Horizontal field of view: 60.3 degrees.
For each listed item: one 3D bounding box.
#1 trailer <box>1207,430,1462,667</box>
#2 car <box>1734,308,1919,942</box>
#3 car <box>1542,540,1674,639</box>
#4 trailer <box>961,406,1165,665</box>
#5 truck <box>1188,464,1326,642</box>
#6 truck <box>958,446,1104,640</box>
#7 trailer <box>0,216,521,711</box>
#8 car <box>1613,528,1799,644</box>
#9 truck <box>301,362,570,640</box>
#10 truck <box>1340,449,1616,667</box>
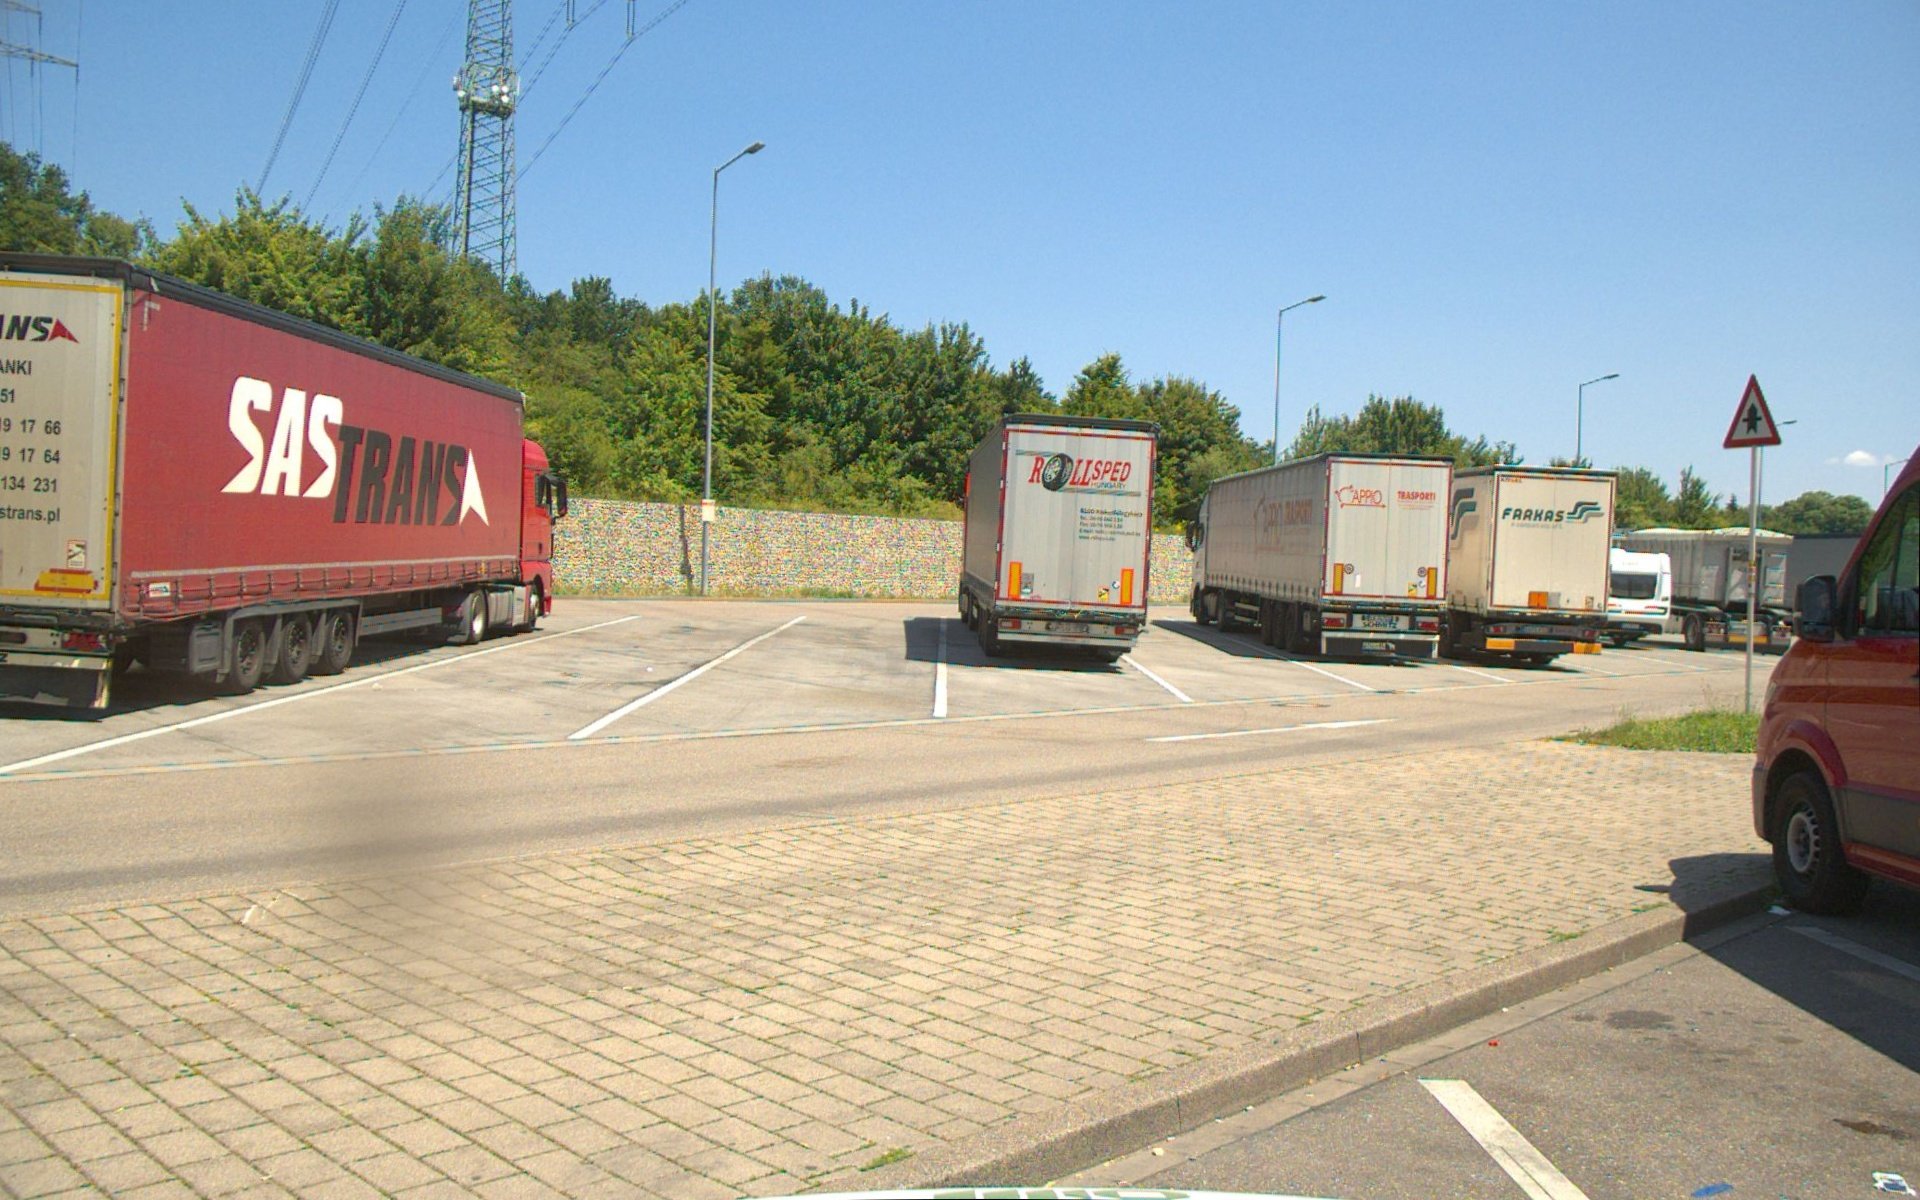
[{"bbox_3d":[8.178,-1.107,38.297,2.627,4.530,12.826,1,1,-1],"label":"trailer"},{"bbox_3d":[4.966,0.139,5.582,1.952,2.679,6.385,1,1,3],"label":"car"},{"bbox_3d":[18.236,-0.281,46.747,2.072,2.645,3.999,1,0,-1],"label":"car"},{"bbox_3d":[1.648,-1.134,32.000,2.839,4.083,11.313,1,1,-2],"label":"trailer"},{"bbox_3d":[8.024,-1.261,45.370,2.607,4.530,5.863,1,1,-1],"label":"truck"},{"bbox_3d":[1.481,-1.252,37.799,2.814,4.050,6.027,1,1,-2],"label":"truck"},{"bbox_3d":[-8.636,-1.323,20.993,2.743,4.293,13.200,1,1,-1],"label":"trailer"},{"bbox_3d":[21.701,-0.437,48.506,2.448,3.128,6.350,1,1,-1],"label":"car"},{"bbox_3d":[-8.722,-1.560,28.248,2.749,4.205,5.893,1,1,-1],"label":"truck"},{"bbox_3d":[11.716,-0.814,38.966,2.534,4.299,11.967,1,0,-1],"label":"truck"}]
